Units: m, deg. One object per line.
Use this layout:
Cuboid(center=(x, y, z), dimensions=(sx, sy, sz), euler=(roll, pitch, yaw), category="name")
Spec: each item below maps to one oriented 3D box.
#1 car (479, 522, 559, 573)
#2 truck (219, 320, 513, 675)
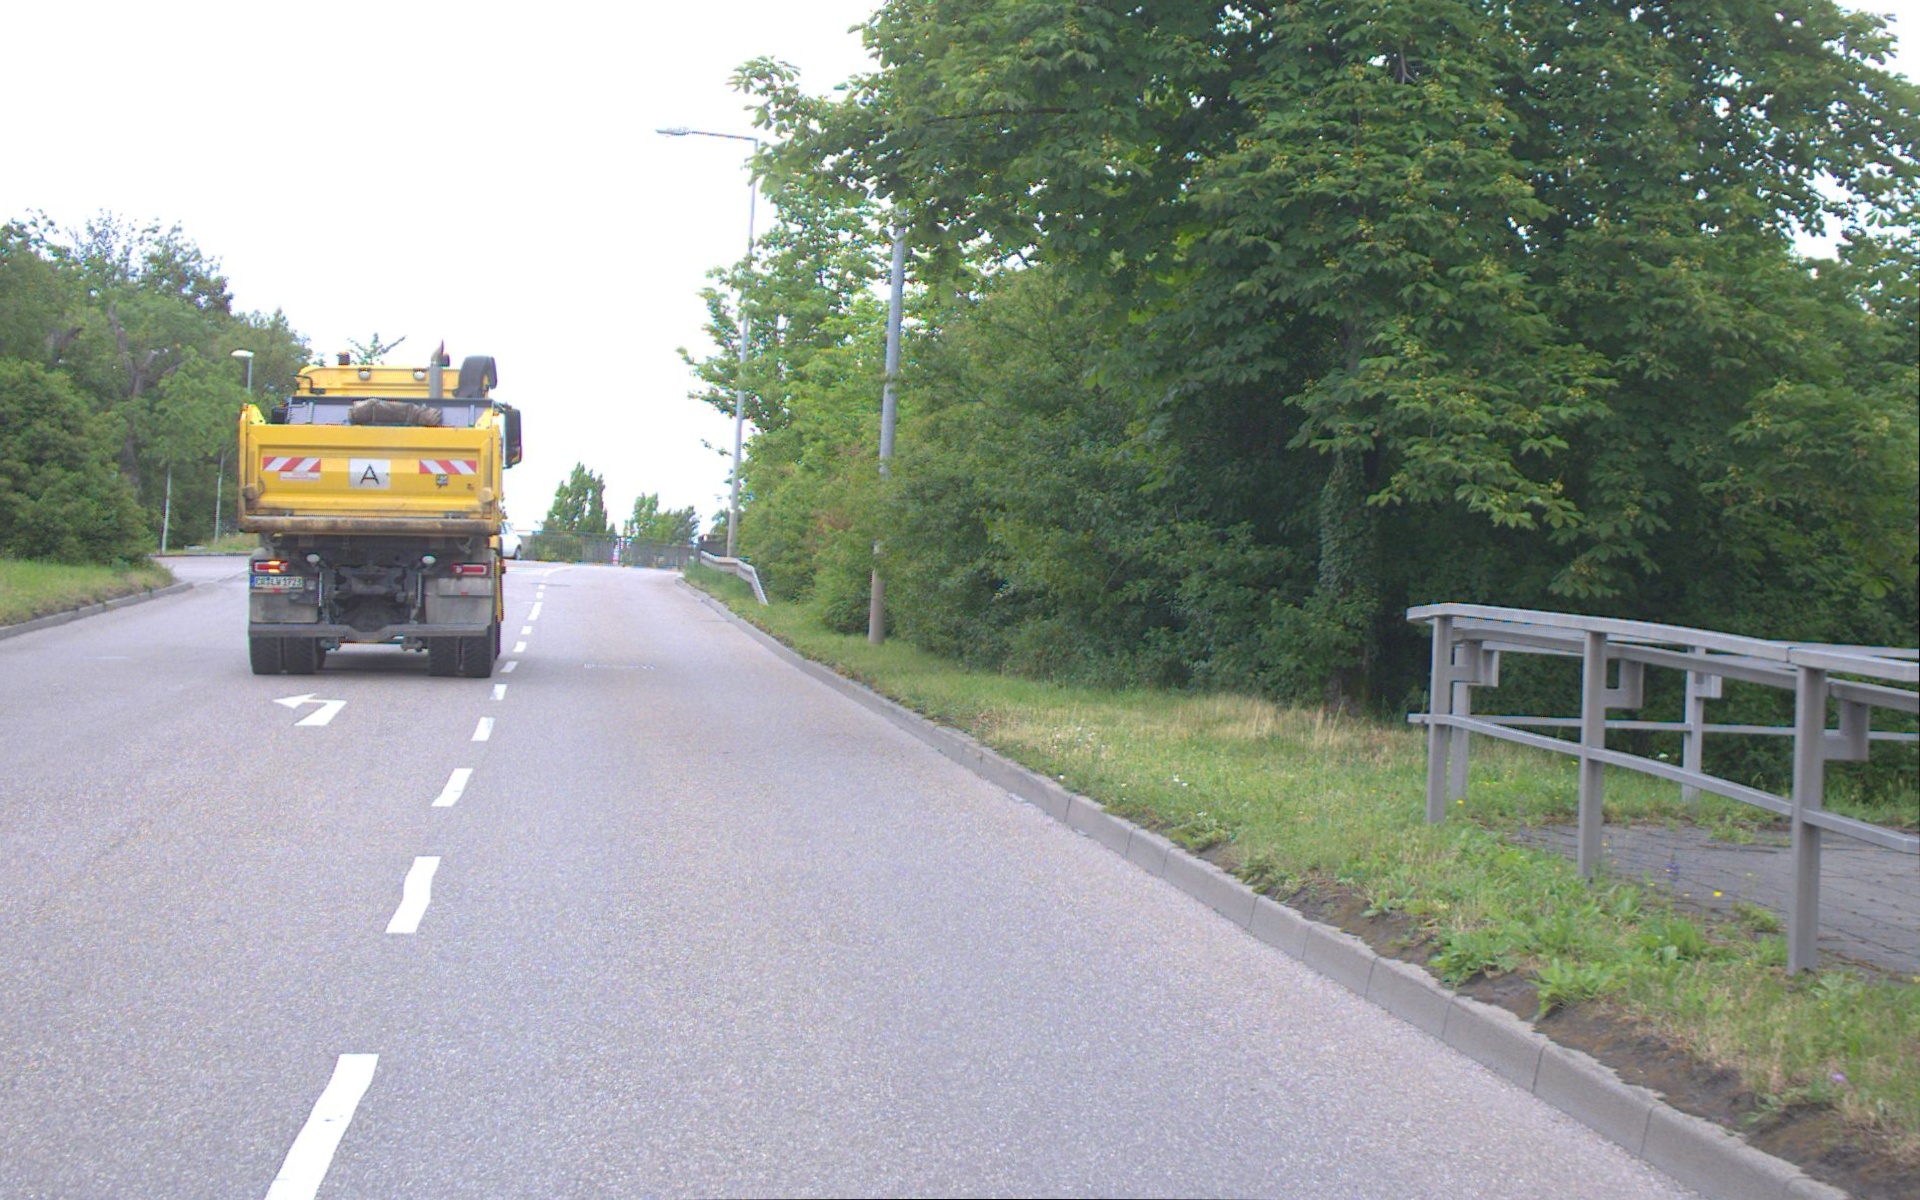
Cuboid(center=(-15.104, -1.798, 117.954), dimensions=(1.994, 1.634, 4.000), euler=(3, 1, 2), category="car")
Cuboid(center=(-6.375, -1.110, 37.938), dimensions=(2.764, 3.471, 8.131), euler=(0, 2, -7), category="truck")
